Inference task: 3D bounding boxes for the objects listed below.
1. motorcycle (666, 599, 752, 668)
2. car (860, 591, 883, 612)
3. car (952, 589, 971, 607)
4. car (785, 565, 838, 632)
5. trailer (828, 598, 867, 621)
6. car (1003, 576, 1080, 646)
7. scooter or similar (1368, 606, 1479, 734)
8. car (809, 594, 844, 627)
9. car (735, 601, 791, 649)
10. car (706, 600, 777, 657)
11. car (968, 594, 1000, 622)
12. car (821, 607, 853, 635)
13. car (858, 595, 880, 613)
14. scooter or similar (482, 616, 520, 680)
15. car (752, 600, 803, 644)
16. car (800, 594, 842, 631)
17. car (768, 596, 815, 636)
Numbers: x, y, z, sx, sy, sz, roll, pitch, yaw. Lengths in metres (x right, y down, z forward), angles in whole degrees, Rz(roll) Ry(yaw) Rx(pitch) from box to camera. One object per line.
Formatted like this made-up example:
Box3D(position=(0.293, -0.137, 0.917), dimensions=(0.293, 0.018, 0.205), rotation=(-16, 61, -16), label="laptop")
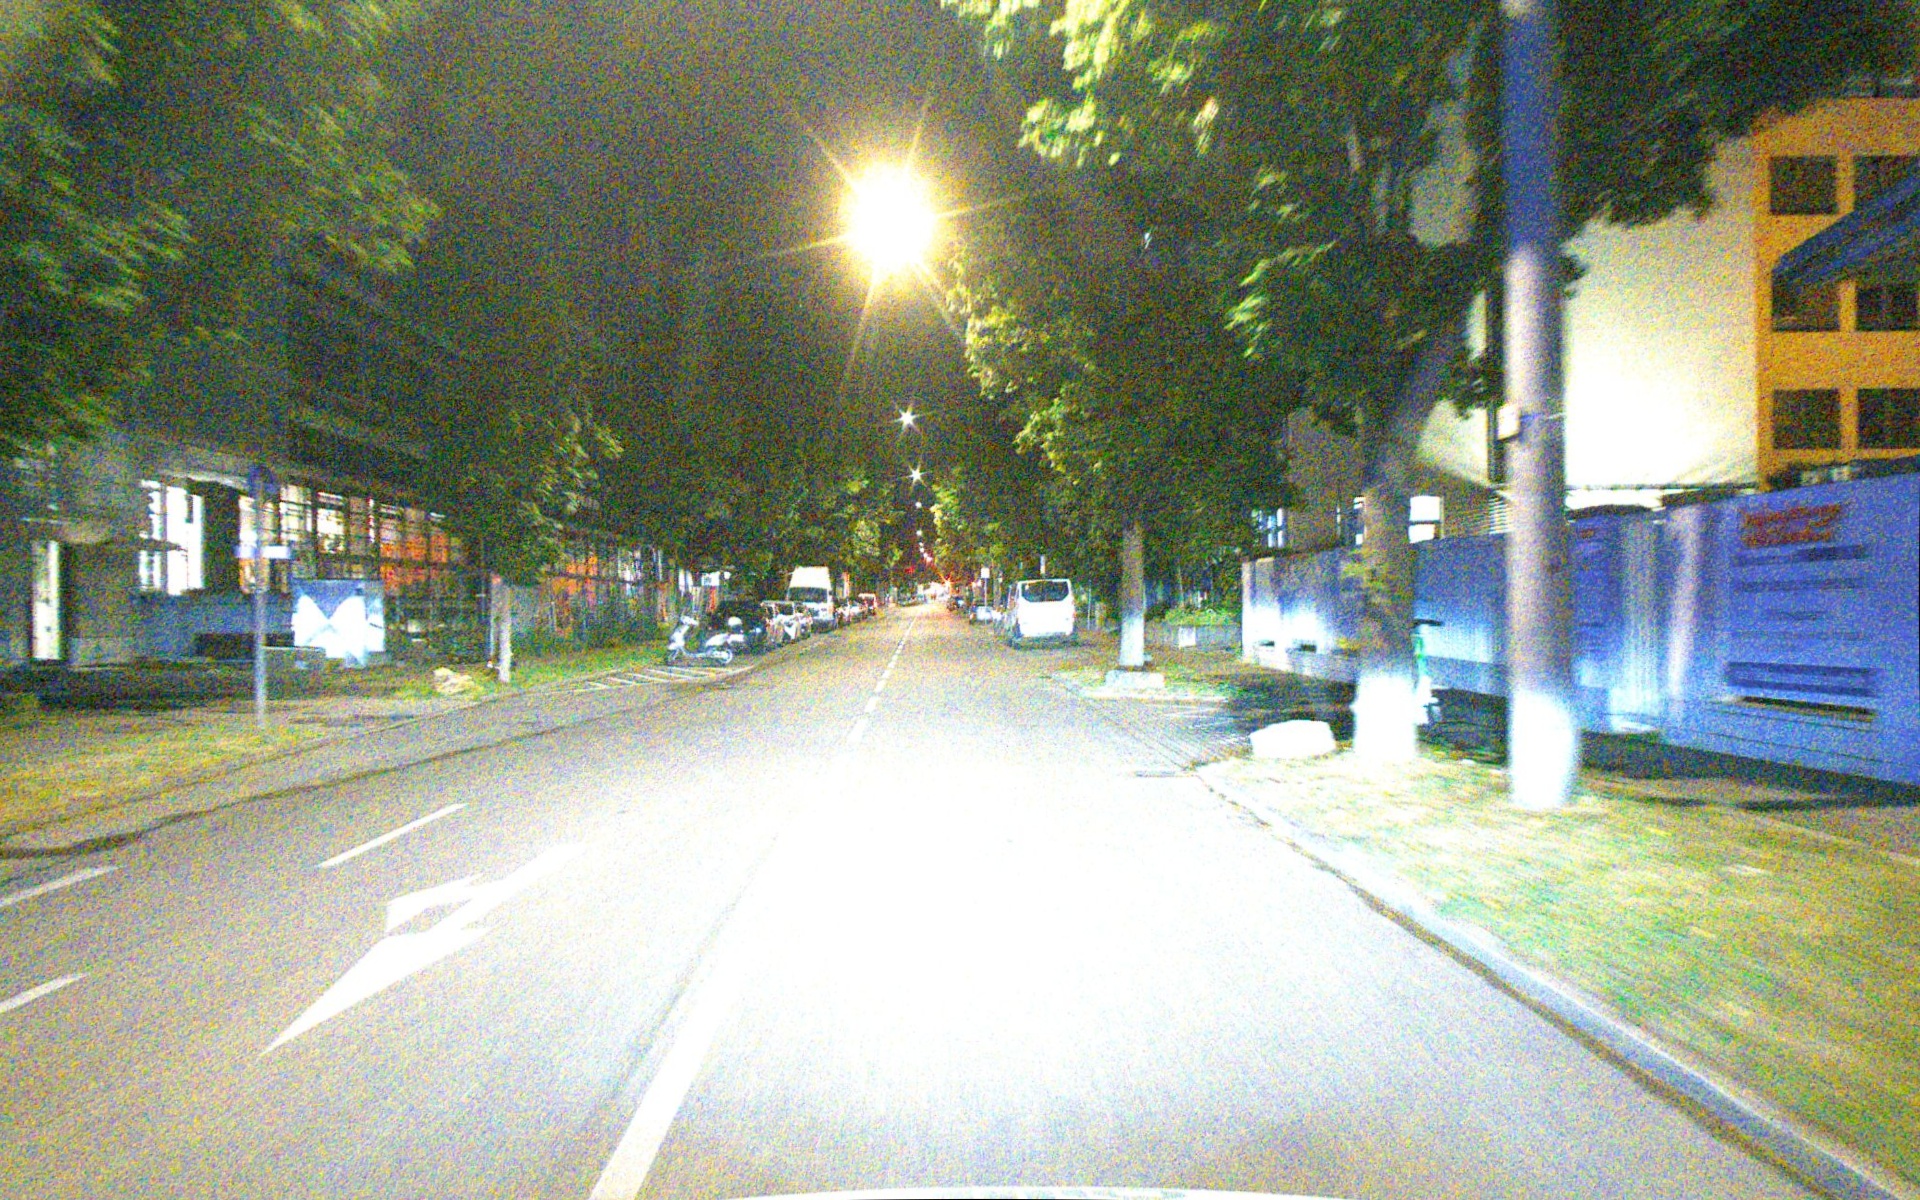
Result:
Box3D(position=(-5.862, 0.791, 38.582), dimensions=(1.874, 1.577, 0.635), rotation=(1, -1, -21), label="motorcycle")
Box3D(position=(-8.020, 0.148, 149.909), dimensions=(1.785, 1.843, 4.210), rotation=(2, 0, 0), label="car")
Box3D(position=(0.106, -0.187, 162.797), dimensions=(1.815, 1.683, 4.208), rotation=(-1, 0, -1), label="car")
Box3D(position=(-6.765, -0.071, 75.797), dimensions=(2.135, 2.960, 4.908), rotation=(1, 0, -2), label="car")
Box3D(position=(-7.125, 0.619, 105.234), dimensions=(2.067, 1.358, 5.434), rotation=(2, 0, 0), label="trailer")
Box3D(position=(2.403, 0.318, 50.034), dimensions=(1.912, 1.998, 4.601), rotation=(0, 0, -3), label="car")
Box3D(position=(4.740, 0.714, 17.038), dimensions=(0.536, 1.224, 1.910), rotation=(-1, -2, -1), label="scooter or similar")
Box3D(position=(-6.987, 0.540, 86.771), dimensions=(1.707, 1.634, 4.296), rotation=(-1, 0, -3), label="car")
Box3D(position=(-6.279, 0.772, 52.965), dimensions=(1.415, 1.454, 3.902), rotation=(2, 0, -2), label="car")
Box3D(position=(-6.270, 0.793, 47.718), dimensions=(1.609, 1.531, 3.902), rotation=(1, 0, -2), label="car")
Box3D(position=(1.351, 0.425, 92.191), dimensions=(1.634, 1.454, 4.148), rotation=(-3, 0, 1), label="car")
Box3D(position=(-7.220, 1.229, 97.488), dimensions=(1.682, 1.528, 4.204), rotation=(2, 0, -2), label="car")
Box3D(position=(-7.821, 0.344, 142.198), dimensions=(1.665, 1.458, 3.828), rotation=(2, 0, 0), label="car")
Box3D(position=(-9.114, 0.945, 32.863), dimensions=(0.359, 1.225, 1.427), rotation=(-1, -1, -1), label="scooter or similar")
Box3D(position=(-6.453, 0.746, 58.815), dimensions=(1.516, 1.481, 3.367), rotation=(1, 0, -2), label="car")
Box3D(position=(-6.813, 0.592, 81.231), dimensions=(1.707, 1.634, 4.114), rotation=(-3, 0, -1), label="car")
Box3D(position=(-6.573, 0.629, 64.761), dimensions=(1.612, 1.531, 3.859), rotation=(1, -1, -3), label="car")
